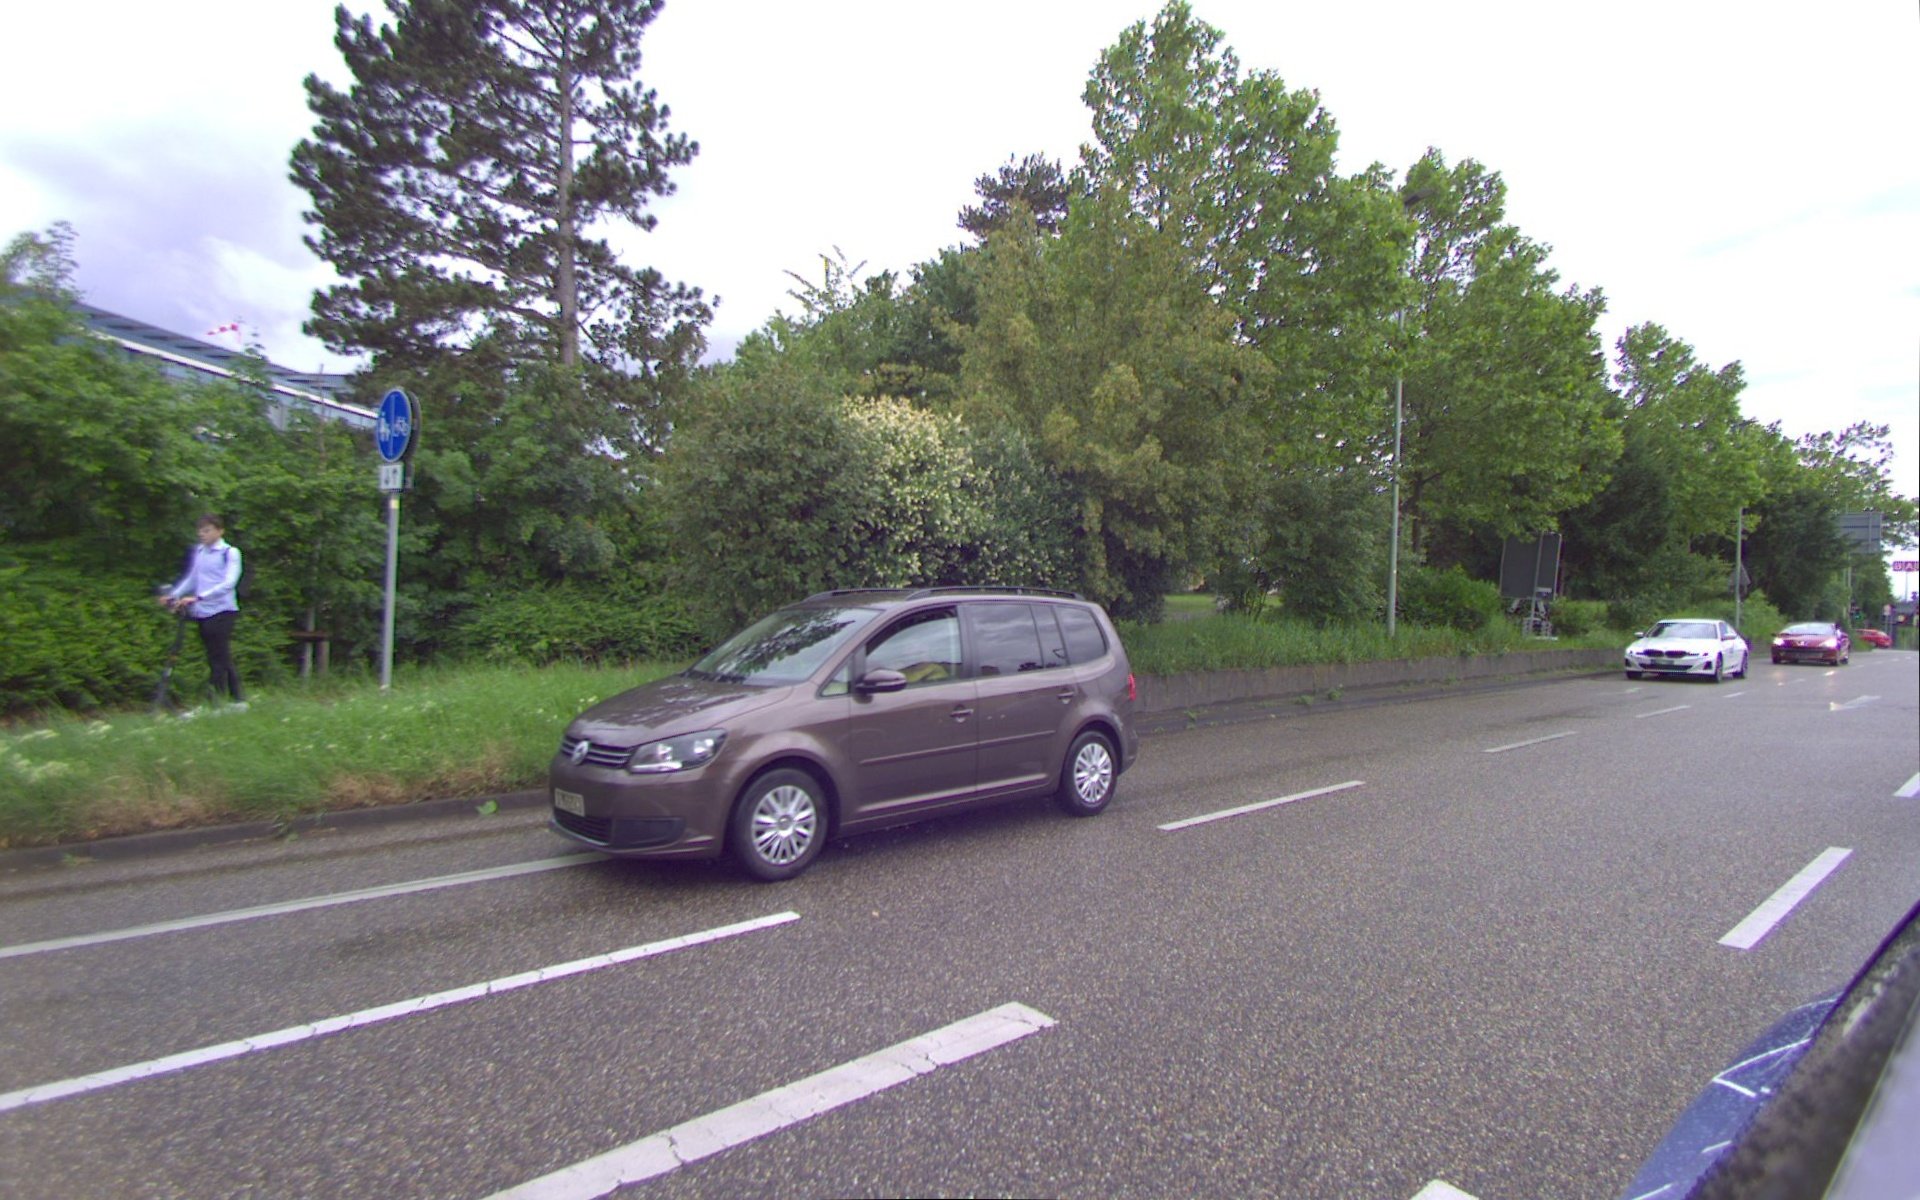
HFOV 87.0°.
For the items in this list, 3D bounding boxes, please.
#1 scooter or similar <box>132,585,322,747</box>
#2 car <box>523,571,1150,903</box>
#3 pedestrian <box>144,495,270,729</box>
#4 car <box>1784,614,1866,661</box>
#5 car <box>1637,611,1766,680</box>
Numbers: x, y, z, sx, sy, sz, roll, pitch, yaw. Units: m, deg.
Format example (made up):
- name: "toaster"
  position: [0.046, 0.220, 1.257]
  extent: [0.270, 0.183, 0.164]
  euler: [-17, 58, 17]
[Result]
- name: "scooter or similar"
  position: [-6.759, 0.556, 9.397]
  extent: [0.458, 1.378, 1.371]
  euler: [1, 1, 27]
- name: "car"
  position: [-0.609, 0.654, 6.878]
  extent: [4.000, 1.595, 1.737]
  euler: [0, 0, -43]
- name: "pedestrian"
  position: [-6.865, 0.095, 9.241]
  extent: [0.651, 2.027, 0.711]
  euler: [1, 1, 27]
- name: "car"
  position: [28.393, 1.188, 33.180]
  extent: [3.626, 1.421, 1.627]
  euler: [0, 0, -42]
- name: "car"
  position: [17.905, 1.027, 24.363]
  extent: [4.231, 1.445, 1.667]
  euler: [0, 0, -42]
